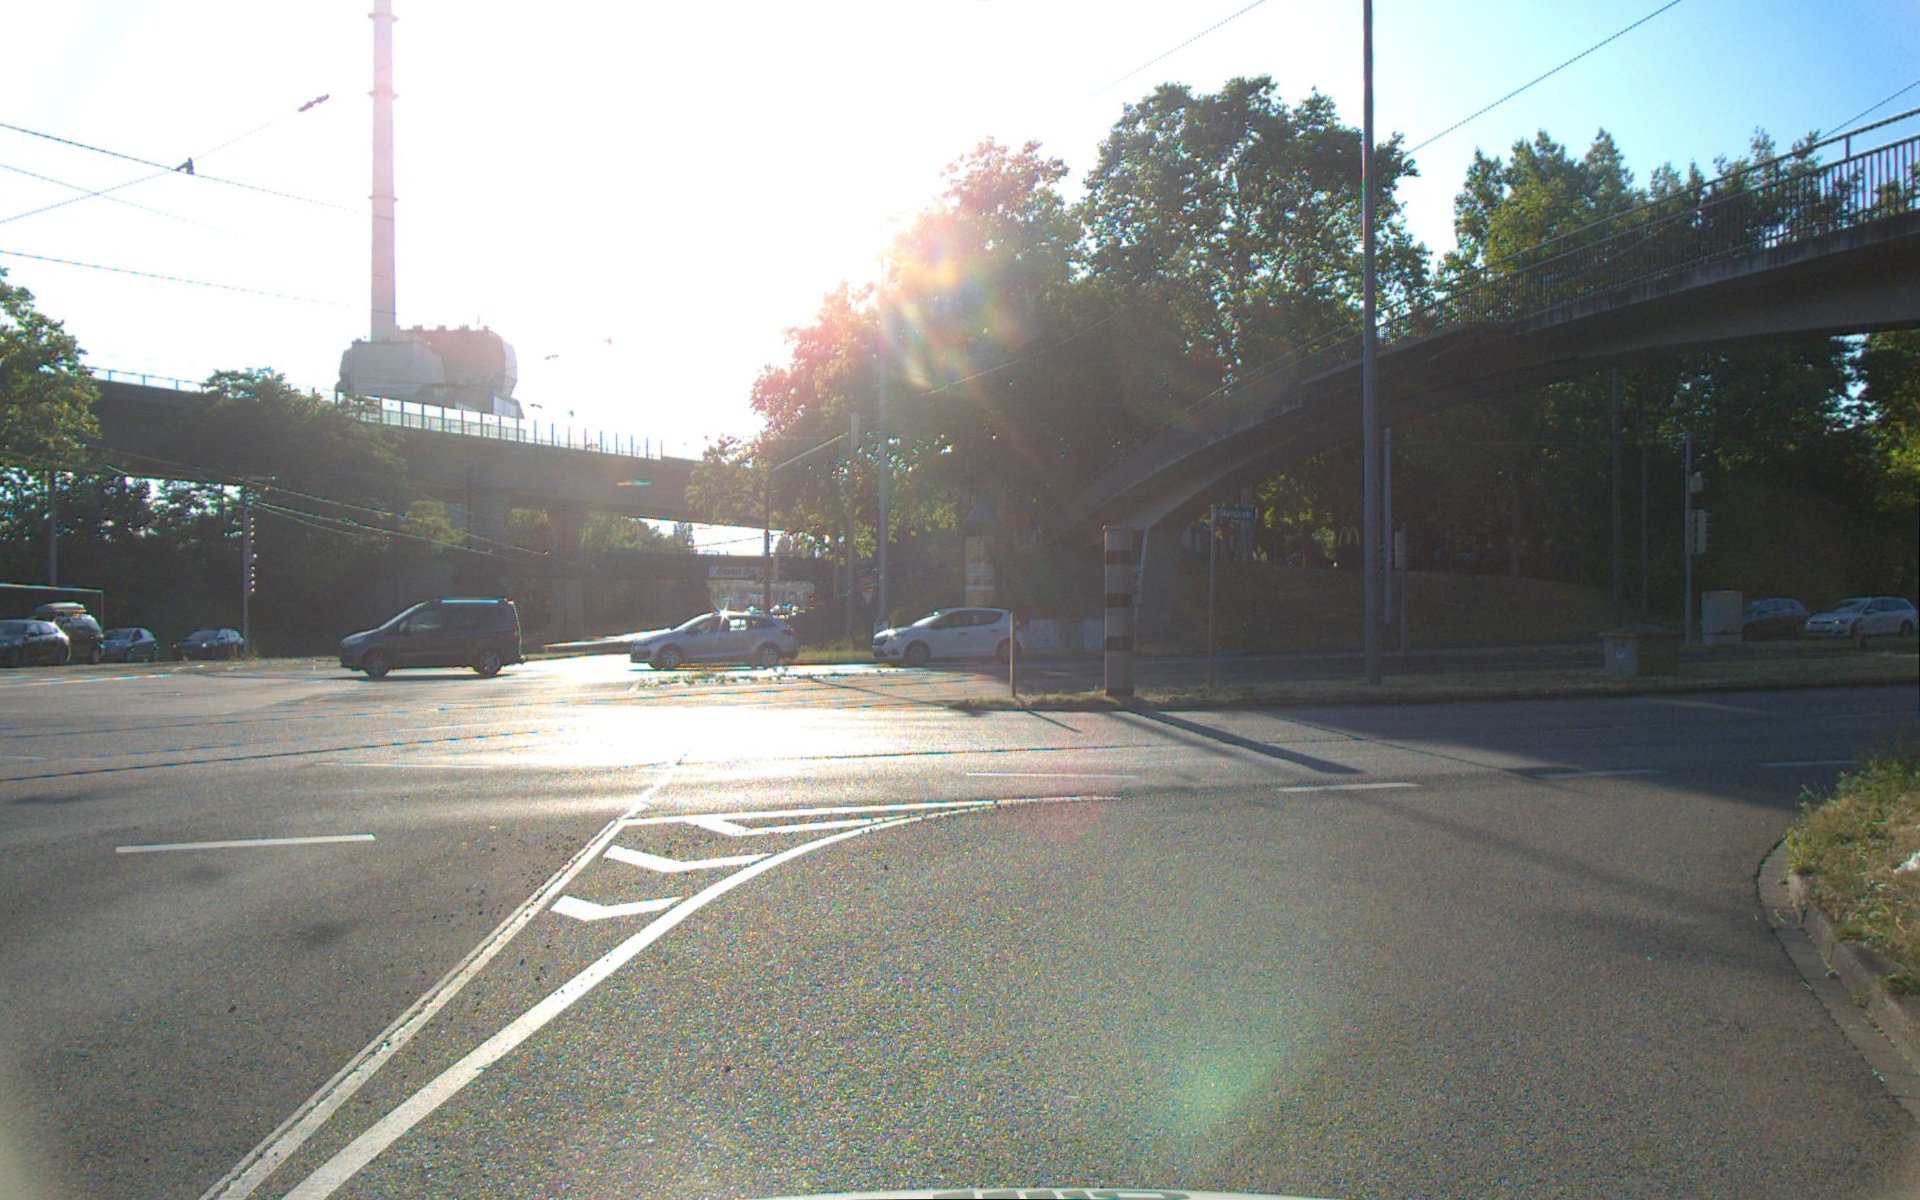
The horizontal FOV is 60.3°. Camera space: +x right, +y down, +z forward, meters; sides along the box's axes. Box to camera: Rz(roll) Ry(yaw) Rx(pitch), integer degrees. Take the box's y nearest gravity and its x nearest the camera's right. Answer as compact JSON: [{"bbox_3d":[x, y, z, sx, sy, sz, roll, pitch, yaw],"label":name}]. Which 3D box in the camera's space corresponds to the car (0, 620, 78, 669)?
[{"bbox_3d":[-27.874,1.291,48.759,1.677,1.378,4.092,0,-1,-3],"label":"car"}]

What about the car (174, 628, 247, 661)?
[{"bbox_3d":[-34.587,2.021,76.399,1.666,1.467,3.997,0,-1,-3],"label":"car"}]

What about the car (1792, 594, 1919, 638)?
[{"bbox_3d":[31.514,0.521,57.609,4.781,1.469,1.997,0,0,-24],"label":"car"}]

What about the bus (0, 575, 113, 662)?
[{"bbox_3d":[-34.714,0.645,58.894,2.765,3.006,12.848,0,-1,-1],"label":"bus"}]

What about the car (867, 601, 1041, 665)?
[{"bbox_3d":[-0.161,0.850,43.381,4.234,1.637,1.844,0,-1,-22],"label":"car"}]

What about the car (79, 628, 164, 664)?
[{"bbox_3d":[-35.059,1.906,69.267,1.666,1.467,3.997,0,-1,-3],"label":"car"}]

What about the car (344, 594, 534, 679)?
[{"bbox_3d":[-12.147,0.825,38.557,4.078,1.900,1.843,0,-1,-24],"label":"car"}]

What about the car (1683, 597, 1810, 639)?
[{"bbox_3d":[28.719,0.640,60.415,4.183,1.469,1.997,0,0,-24],"label":"car"}]

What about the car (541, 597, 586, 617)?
[{"bbox_3d":[-37.055,0.676,154.694,1.956,1.802,3.993,0,-1,28],"label":"car"}]

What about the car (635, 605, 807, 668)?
[{"bbox_3d":[-6.438,0.965,44.512,4.295,1.637,1.844,0,-1,-22],"label":"car"}]

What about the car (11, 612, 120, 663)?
[{"bbox_3d":[-30.713,1.255,56.914,1.677,1.681,4.092,0,-1,-3],"label":"car"}]

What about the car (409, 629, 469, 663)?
[{"bbox_3d":[-33.017,2.898,104.985,1.952,2.049,5.427,0,0,2],"label":"car"}]
